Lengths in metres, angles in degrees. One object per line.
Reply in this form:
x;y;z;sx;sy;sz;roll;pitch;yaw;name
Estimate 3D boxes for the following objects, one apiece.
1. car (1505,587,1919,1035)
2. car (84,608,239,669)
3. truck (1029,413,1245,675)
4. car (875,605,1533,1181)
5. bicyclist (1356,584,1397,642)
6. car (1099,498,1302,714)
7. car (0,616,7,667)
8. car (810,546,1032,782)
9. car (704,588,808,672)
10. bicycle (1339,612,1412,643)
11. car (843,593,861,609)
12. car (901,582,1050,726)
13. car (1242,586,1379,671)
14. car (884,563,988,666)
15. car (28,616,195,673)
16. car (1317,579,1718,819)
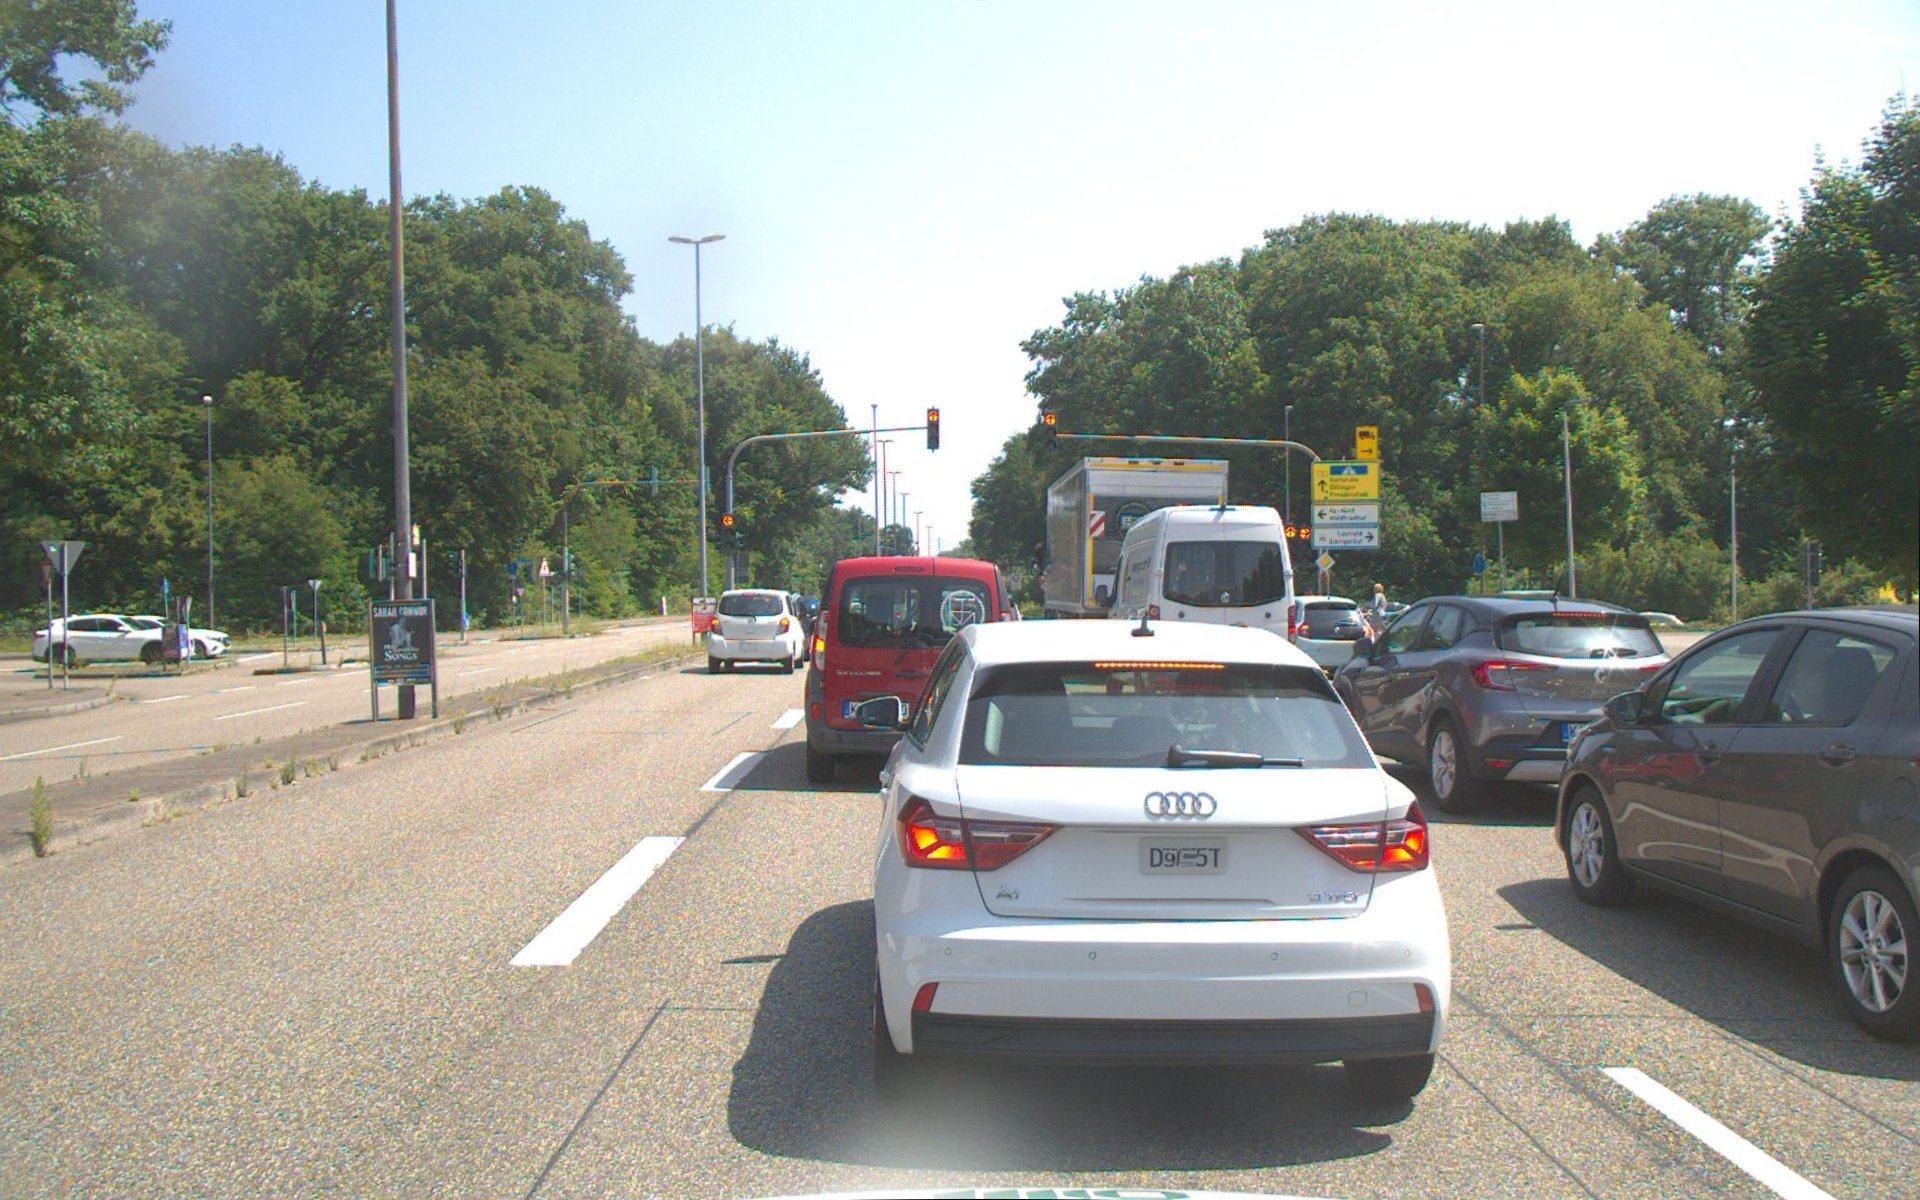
4.012;0.741;7.261;1.678;1.504;4.090;3;0;-3;car
-27.011;1.289;56.078;4.291;1.710;1.807;-4;0;-9;car
3.314;-0.994;34.437;3.026;4.511;11.577;1;0;-1;truck
0.537;0.742;6.227;1.677;1.410;4.090;0;0;-3;car
10.798;0.331;42.892;0.815;1.464;0.595;-1;0;44;bicyclist
3.206;0.070;23.051;1.990;2.690;4.843;0;0;-2;car
-34.475;1.352;55.145;4.294;1.711;1.805;1;-1;-13;car
-0.382;0.478;14.579;1.677;1.779;4.090;0;0;-3;car
-3.880;0.540;32.056;1.677;1.519;4.090;0;0;-3;car
10.770;0.699;42.935;1.796;0.779;0.596;-1;0;45;bicycle
-12.771;0.087;195.494;1.953;1.803;4.203;-1;0;-2;car
0.109;0.611;21.118;1.677;1.660;4.090;0;0;-3;car
6.858;0.525;32.760;1.677;1.573;4.090;0;0;-3;car
-0.470;0.225;28.799;1.677;1.660;4.090;0;0;-3;car
-26.750;1.404;52.263;4.290;1.711;1.807;1;-1;-9;car
4.220;0.662;13.237;1.677;1.621;4.090;0;0;-3;car
